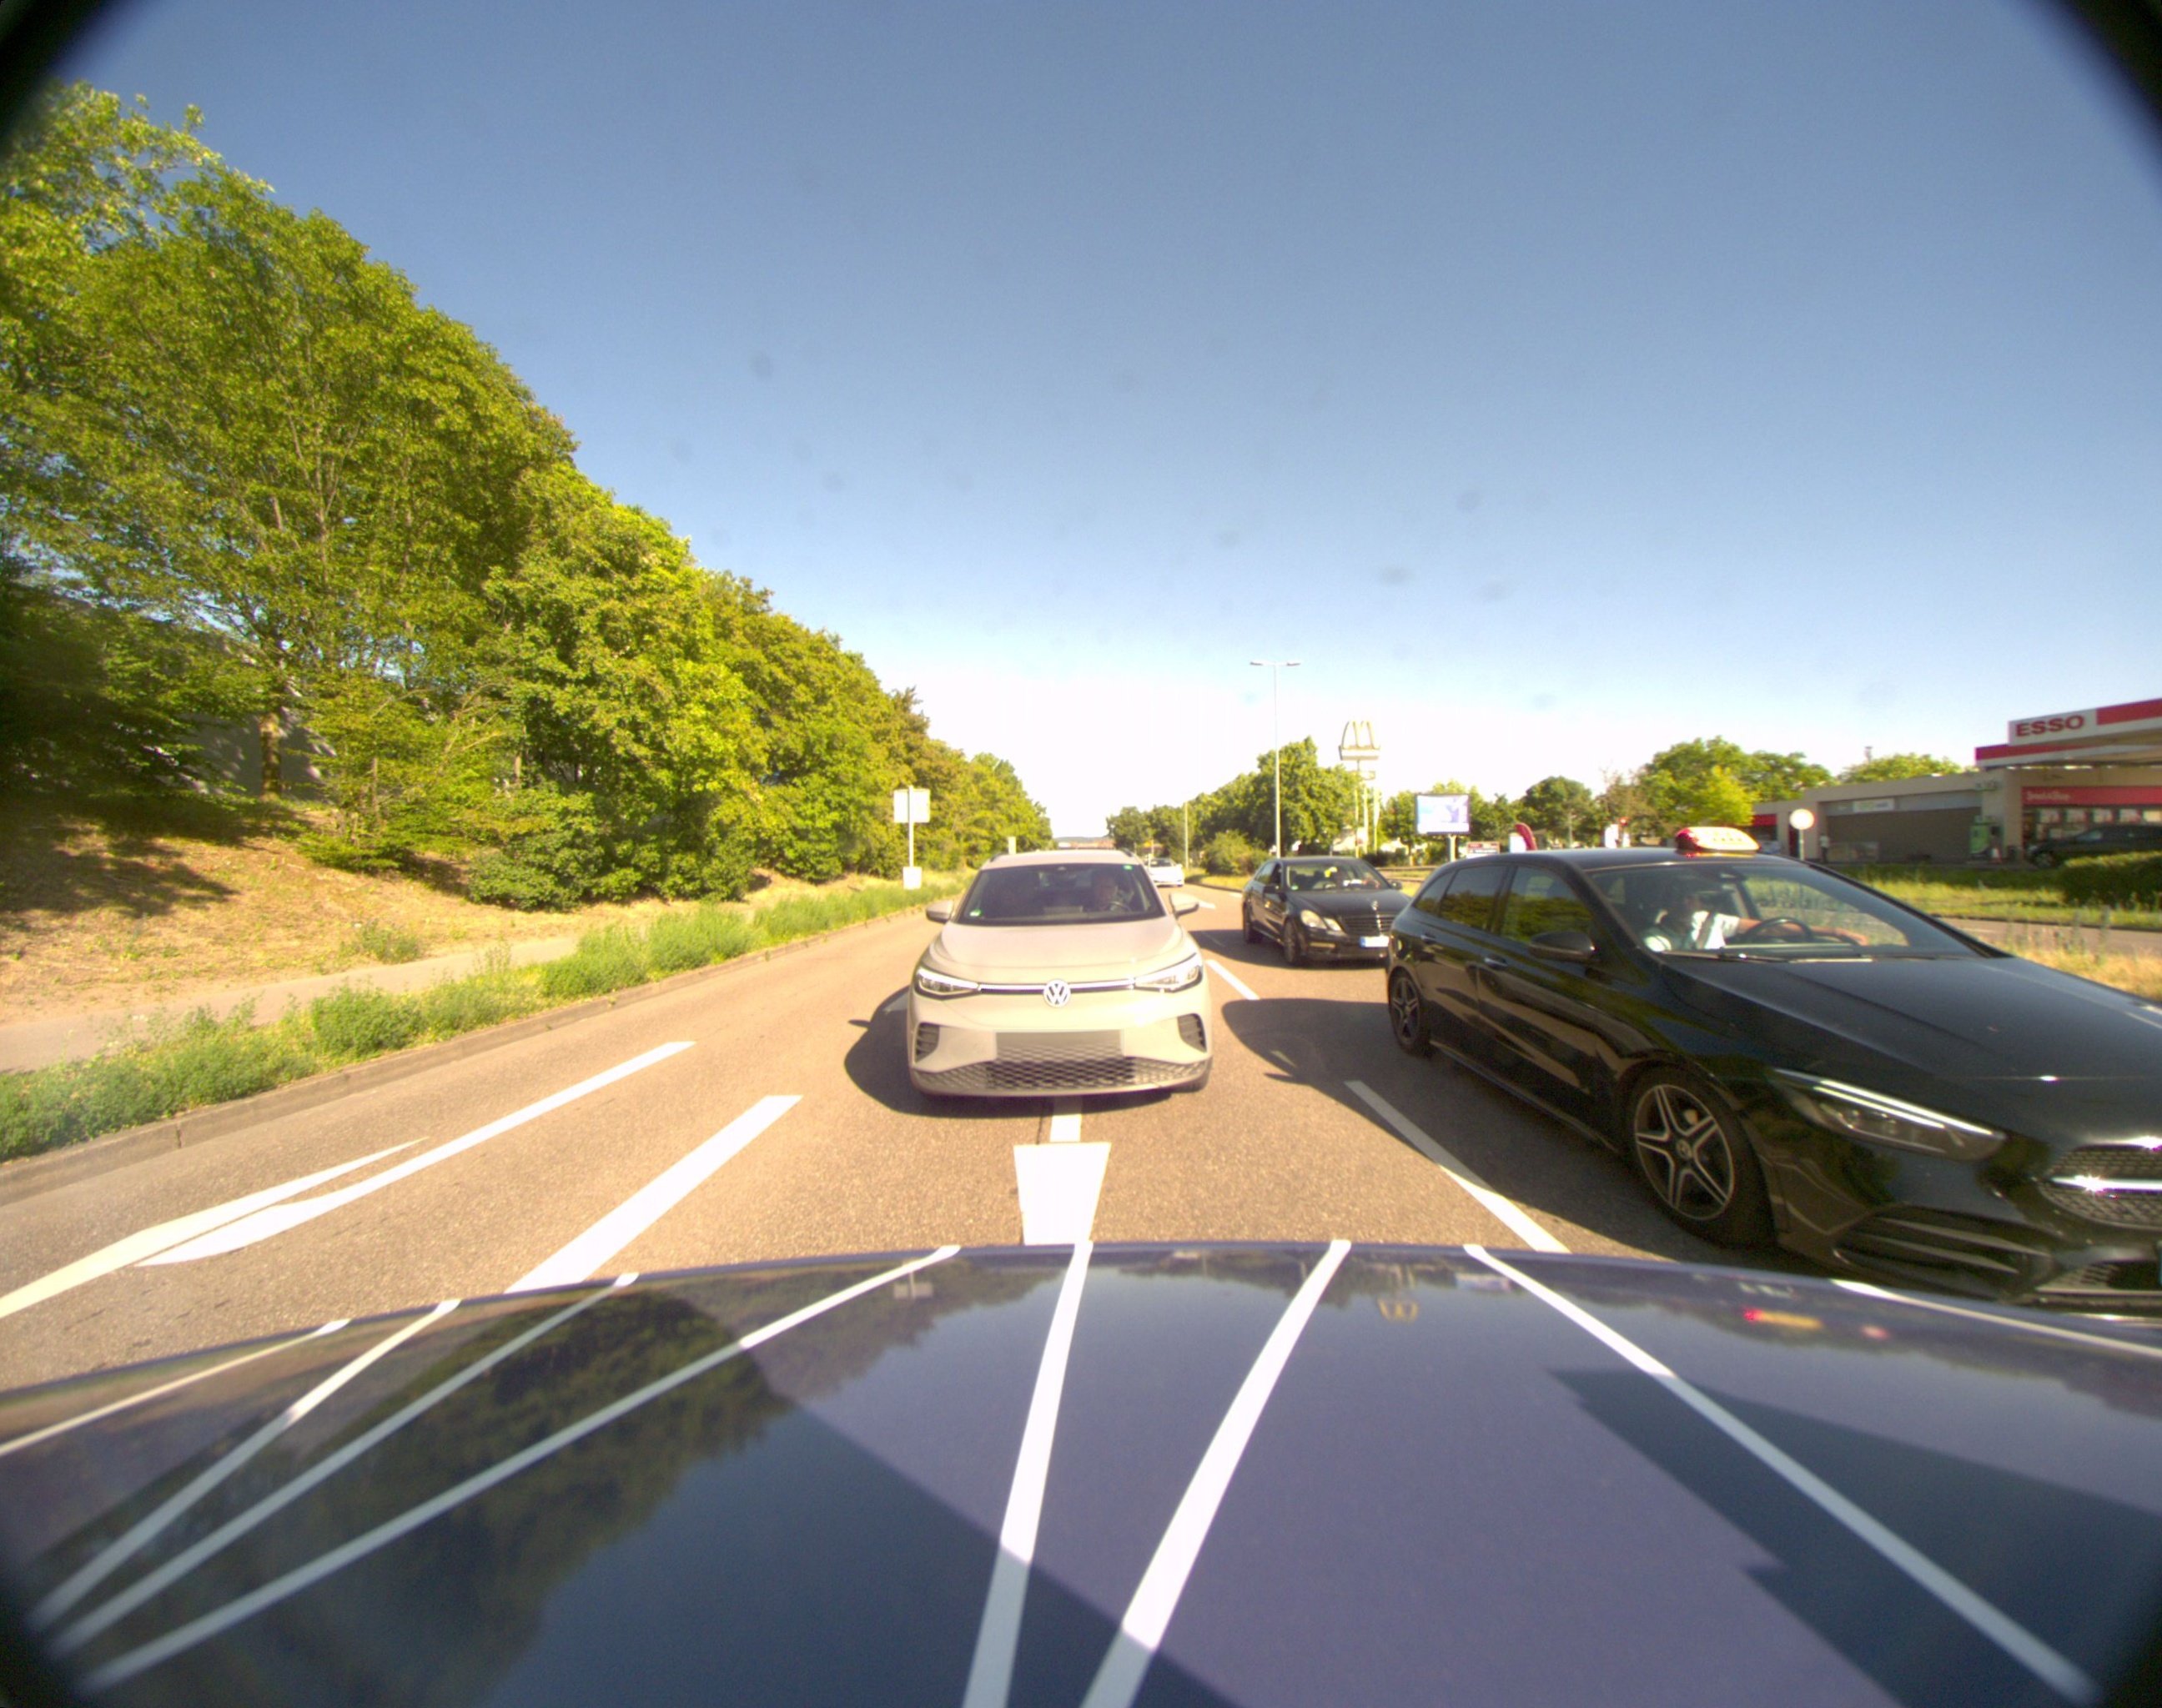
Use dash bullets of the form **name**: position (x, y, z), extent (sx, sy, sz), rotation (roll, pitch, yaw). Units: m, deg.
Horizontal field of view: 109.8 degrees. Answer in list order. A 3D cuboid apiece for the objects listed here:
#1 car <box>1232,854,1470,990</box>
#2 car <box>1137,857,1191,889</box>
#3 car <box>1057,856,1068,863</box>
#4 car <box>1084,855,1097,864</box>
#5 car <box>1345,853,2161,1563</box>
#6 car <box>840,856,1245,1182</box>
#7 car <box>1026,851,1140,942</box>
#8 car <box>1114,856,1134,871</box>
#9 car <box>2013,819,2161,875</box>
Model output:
- **car**: position (3.667, 0.818, 11.304), extent (1.953, 1.501, 4.462), rotation (-2, 1, 1)
- **car**: position (4.154, 0.913, 38.666), extent (1.999, 1.434, 3.998), rotation (-2, 1, -4)
- **car**: position (-3.873, 1.107, 159.018), extent (1.998, 1.433, 4.000), rotation (-1, 0, 0)
- **car**: position (1.545, 0.935, 126.342), extent (1.998, 1.433, 4.000), rotation (-1, 0, 0)
- **car**: position (3.118, 0.819, 4.047), extent (1.788, 1.592, 4.583), rotation (-2, 0, 0)
- **car**: position (-0.172, 0.858, 5.963), extent (2.025, 1.601, 4.098), rotation (-2, 0, 1)
- **car**: position (0.064, 0.792, 16.086), extent (2.036, 1.601, 4.098), rotation (-2, 0, 1)
- **car**: position (4.600, 1.012, 82.034), extent (1.998, 1.433, 4.001), rotation (-1, 0, 2)
- **car**: position (36.126, -0.262, 26.541), extent (1.807, 1.716, 4.322), rotation (-4, 0, 2)
